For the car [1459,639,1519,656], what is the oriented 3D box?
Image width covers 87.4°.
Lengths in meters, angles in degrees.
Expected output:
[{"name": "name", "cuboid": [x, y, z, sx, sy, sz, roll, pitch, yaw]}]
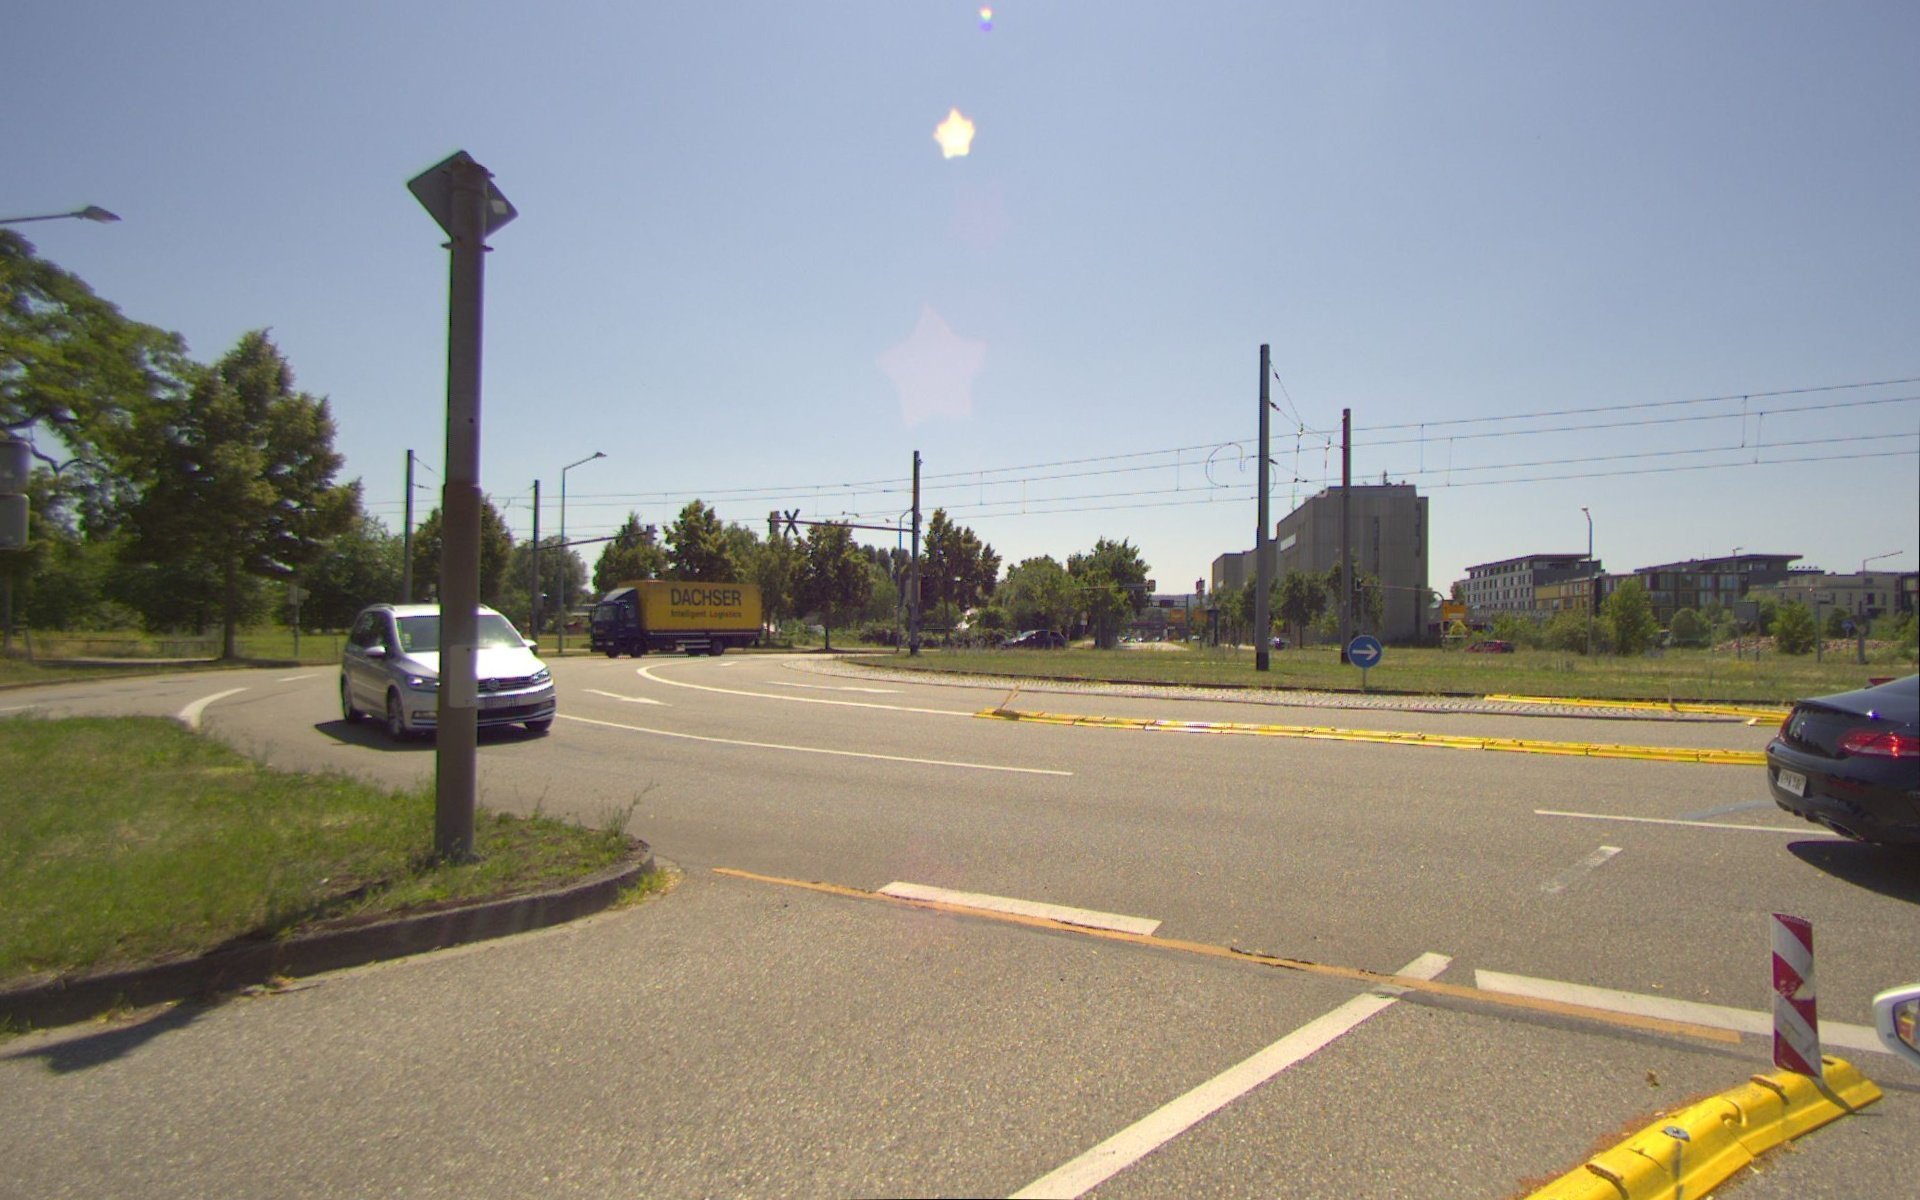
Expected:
[{"name": "car", "cuboid": [36.135, 3.228, 68.671, 1.476, 1.104, 3.501, 1, -2, -23]}]

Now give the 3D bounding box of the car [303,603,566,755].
[{"name": "car", "cuboid": [-7.117, 0.911, 13.363, 4.542, 1.671, 1.795, -1, -1, 44]}]

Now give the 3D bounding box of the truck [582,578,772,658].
[{"name": "truck", "cuboid": [-14.125, 1.003, 51.149, 2.666, 3.707, 9.575, -1, -2, 39]}]

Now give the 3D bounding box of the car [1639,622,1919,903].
[{"name": "car", "cuboid": [6.876, 0.895, 5.549, 4.858, 1.455, 1.858, 1, -1, 20]}]

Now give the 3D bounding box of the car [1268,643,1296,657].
[{"name": "car", "cuboid": [29.700, 4.626, 92.688, 1.524, 1.208, 3.478, 1, -1, 1]}]

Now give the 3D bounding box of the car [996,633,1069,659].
[{"name": "car", "cuboid": [4.257, 2.686, 58.990, 3.997, 1.480, 1.718, 2, -2, -28]}]
